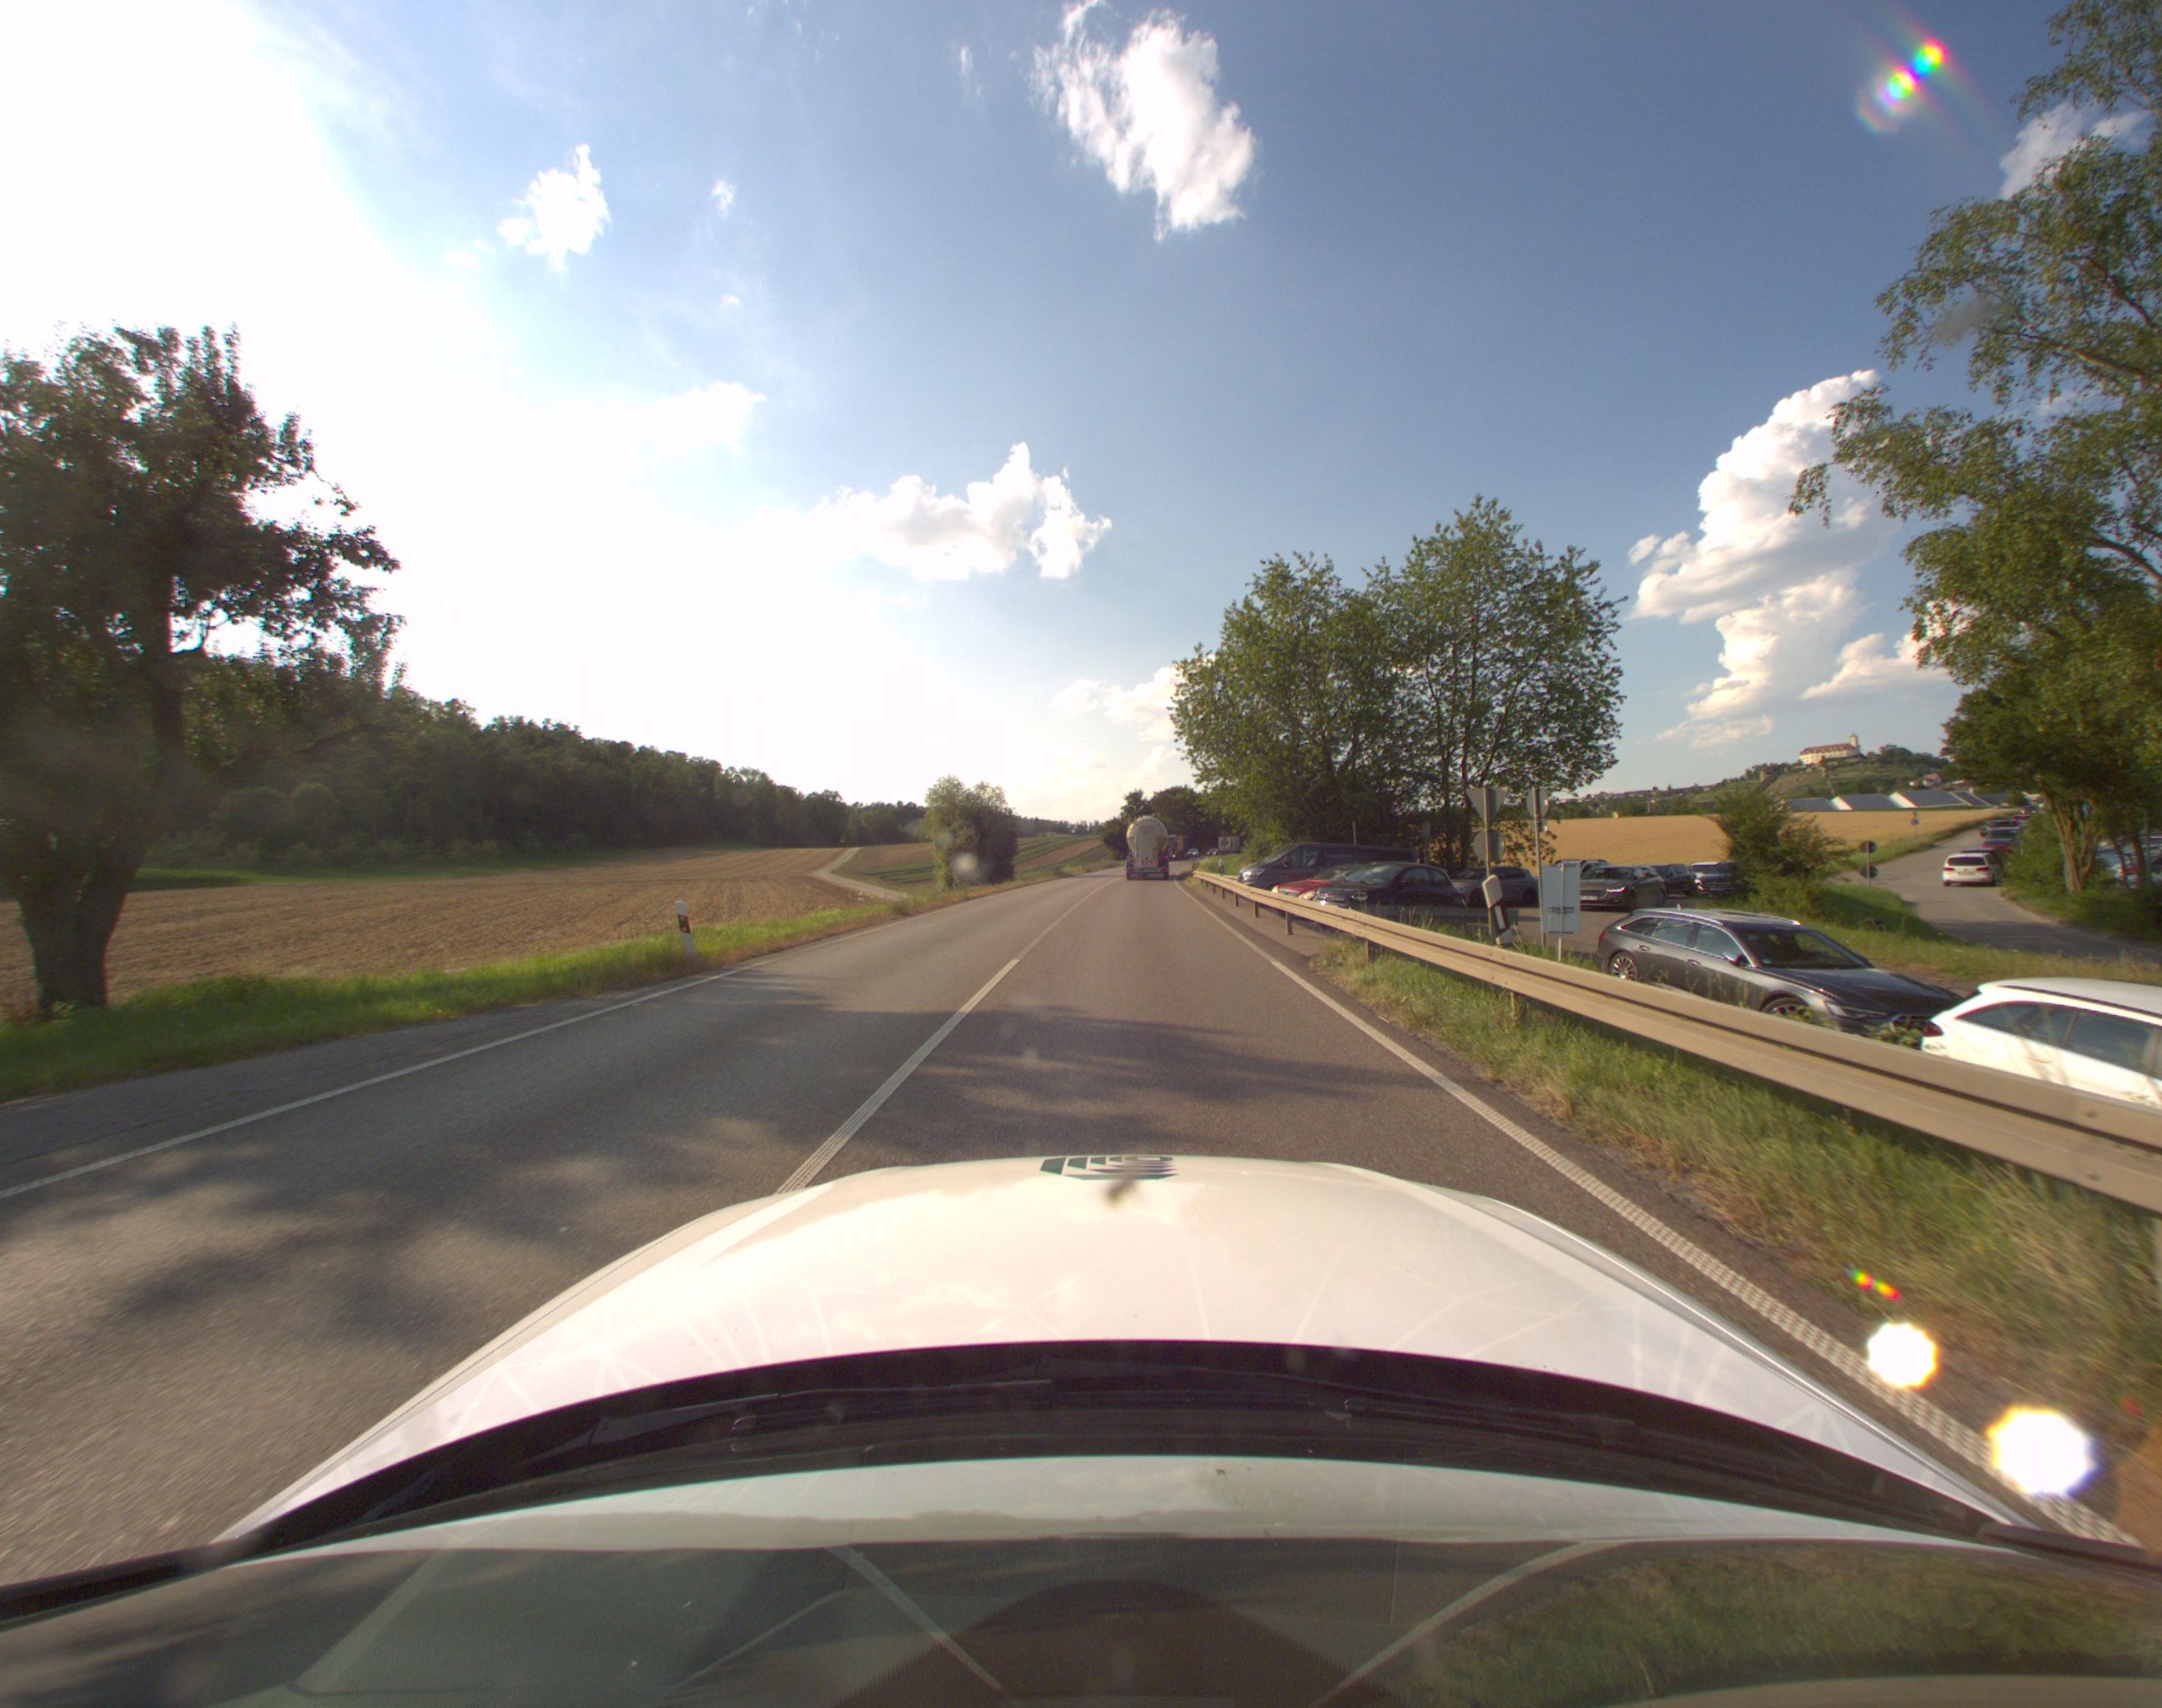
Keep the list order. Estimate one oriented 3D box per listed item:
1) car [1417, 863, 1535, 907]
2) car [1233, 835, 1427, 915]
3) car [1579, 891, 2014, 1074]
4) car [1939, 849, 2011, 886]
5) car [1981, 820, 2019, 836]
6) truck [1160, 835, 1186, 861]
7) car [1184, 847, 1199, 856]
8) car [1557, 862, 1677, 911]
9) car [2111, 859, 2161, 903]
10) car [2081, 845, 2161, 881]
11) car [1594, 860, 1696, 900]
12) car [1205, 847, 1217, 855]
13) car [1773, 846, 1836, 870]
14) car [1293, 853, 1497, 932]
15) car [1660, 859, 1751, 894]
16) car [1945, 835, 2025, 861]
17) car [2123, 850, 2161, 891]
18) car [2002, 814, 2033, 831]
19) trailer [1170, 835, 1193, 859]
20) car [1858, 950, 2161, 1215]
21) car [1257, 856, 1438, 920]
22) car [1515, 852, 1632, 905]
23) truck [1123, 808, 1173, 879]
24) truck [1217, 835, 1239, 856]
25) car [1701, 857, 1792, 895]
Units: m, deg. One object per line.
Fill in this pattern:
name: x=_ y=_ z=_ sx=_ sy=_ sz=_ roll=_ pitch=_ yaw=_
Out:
car: x=13.939 y=1.065 z=28.740 sx=3.735 sy=1.441 sz=1.797 roll=0 pitch=0 yaw=-24
car: x=7.314 y=0.593 z=24.330 sx=5.122 sy=1.943 sz=1.975 roll=4 pitch=0 yaw=0
car: x=9.579 y=1.567 z=11.610 sx=1.887 sy=1.559 sz=4.781 roll=-5 pitch=2 yaw=-1
car: x=46.744 y=0.663 z=42.550 sx=4.664 sy=1.616 sz=1.978 roll=-4 pitch=2 yaw=-36
car: x=91.600 y=-2.619 z=81.154 sx=4.664 sy=1.507 sz=1.978 roll=-2 pitch=1 yaw=-36
truck: x=14.368 y=-0.994 z=127.069 sx=2.371 sy=3.920 sz=10.201 roll=-2 pitch=1 yaw=15
car: x=20.953 y=-0.497 z=154.288 sx=1.959 sy=1.651 sz=4.382 roll=-2 pitch=1 yaw=18
car: x=17.421 y=0.993 z=26.392 sx=4.611 sy=1.441 sz=1.791 roll=0 pitch=0 yaw=-37
car: x=44.347 y=1.070 z=32.034 sx=1.814 sy=1.691 sz=4.539 roll=-1 pitch=0 yaw=-45
car: x=51.754 y=0.427 z=39.079 sx=1.814 sy=1.691 sz=4.539 roll=-1 pitch=0 yaw=-45
car: x=23.534 y=1.029 z=33.966 sx=4.547 sy=1.507 sz=1.979 roll=0 pitch=0 yaw=-34
car: x=28.456 y=-0.680 z=178.043 sx=1.961 sy=1.651 sz=4.379 roll=-2 pitch=1 yaw=14
car: x=47.482 y=0.246 z=53.408 sx=4.662 sy=1.507 sz=1.979 roll=0 pitch=0 yaw=-34
car: x=6.828 y=0.832 z=17.607 sx=4.336 sy=1.509 sz=1.705 roll=3 pitch=0 yaw=-29
car: x=28.883 y=0.985 z=37.623 sx=4.662 sy=1.507 sz=1.979 roll=0 pitch=0 yaw=-34
car: x=61.857 y=-0.432 z=55.842 sx=1.975 sy=1.507 sz=4.907 roll=-4 pitch=0 yaw=27
car: x=47.408 y=0.685 z=34.034 sx=1.814 sy=1.691 sz=4.539 roll=-1 pitch=0 yaw=-45
car: x=110.240 y=-3.722 z=95.832 sx=4.664 sy=1.786 sz=1.978 roll=-2 pitch=1 yaw=-36
trailer: x=16.854 y=-1.189 z=136.347 sx=2.347 sy=3.920 sz=8.998 roll=-2 pitch=1 yaw=15
car: x=9.414 y=1.987 z=6.568 sx=1.884 sy=1.559 sz=4.788 roll=-4 pitch=2 yaw=4
car: x=6.723 y=0.872 z=20.488 sx=4.333 sy=1.399 sz=1.706 roll=3 pitch=1 yaw=-26
car: x=18.798 y=0.886 z=31.065 sx=4.225 sy=1.747 sz=1.796 roll=-2 pitch=1 yaw=-25
truck: x=4.426 y=-0.617 z=54.662 sx=2.880 sy=4.142 sz=13.186 roll=-1 pitch=0 yaw=4
truck: x=31.183 y=-1.869 z=172.308 sx=3.159 sy=4.227 sz=13.230 roll=-2 pitch=1 yaw=16
car: x=26.775 y=0.860 z=32.747 sx=3.948 sy=1.441 sz=1.792 roll=0 pitch=0 yaw=-34
